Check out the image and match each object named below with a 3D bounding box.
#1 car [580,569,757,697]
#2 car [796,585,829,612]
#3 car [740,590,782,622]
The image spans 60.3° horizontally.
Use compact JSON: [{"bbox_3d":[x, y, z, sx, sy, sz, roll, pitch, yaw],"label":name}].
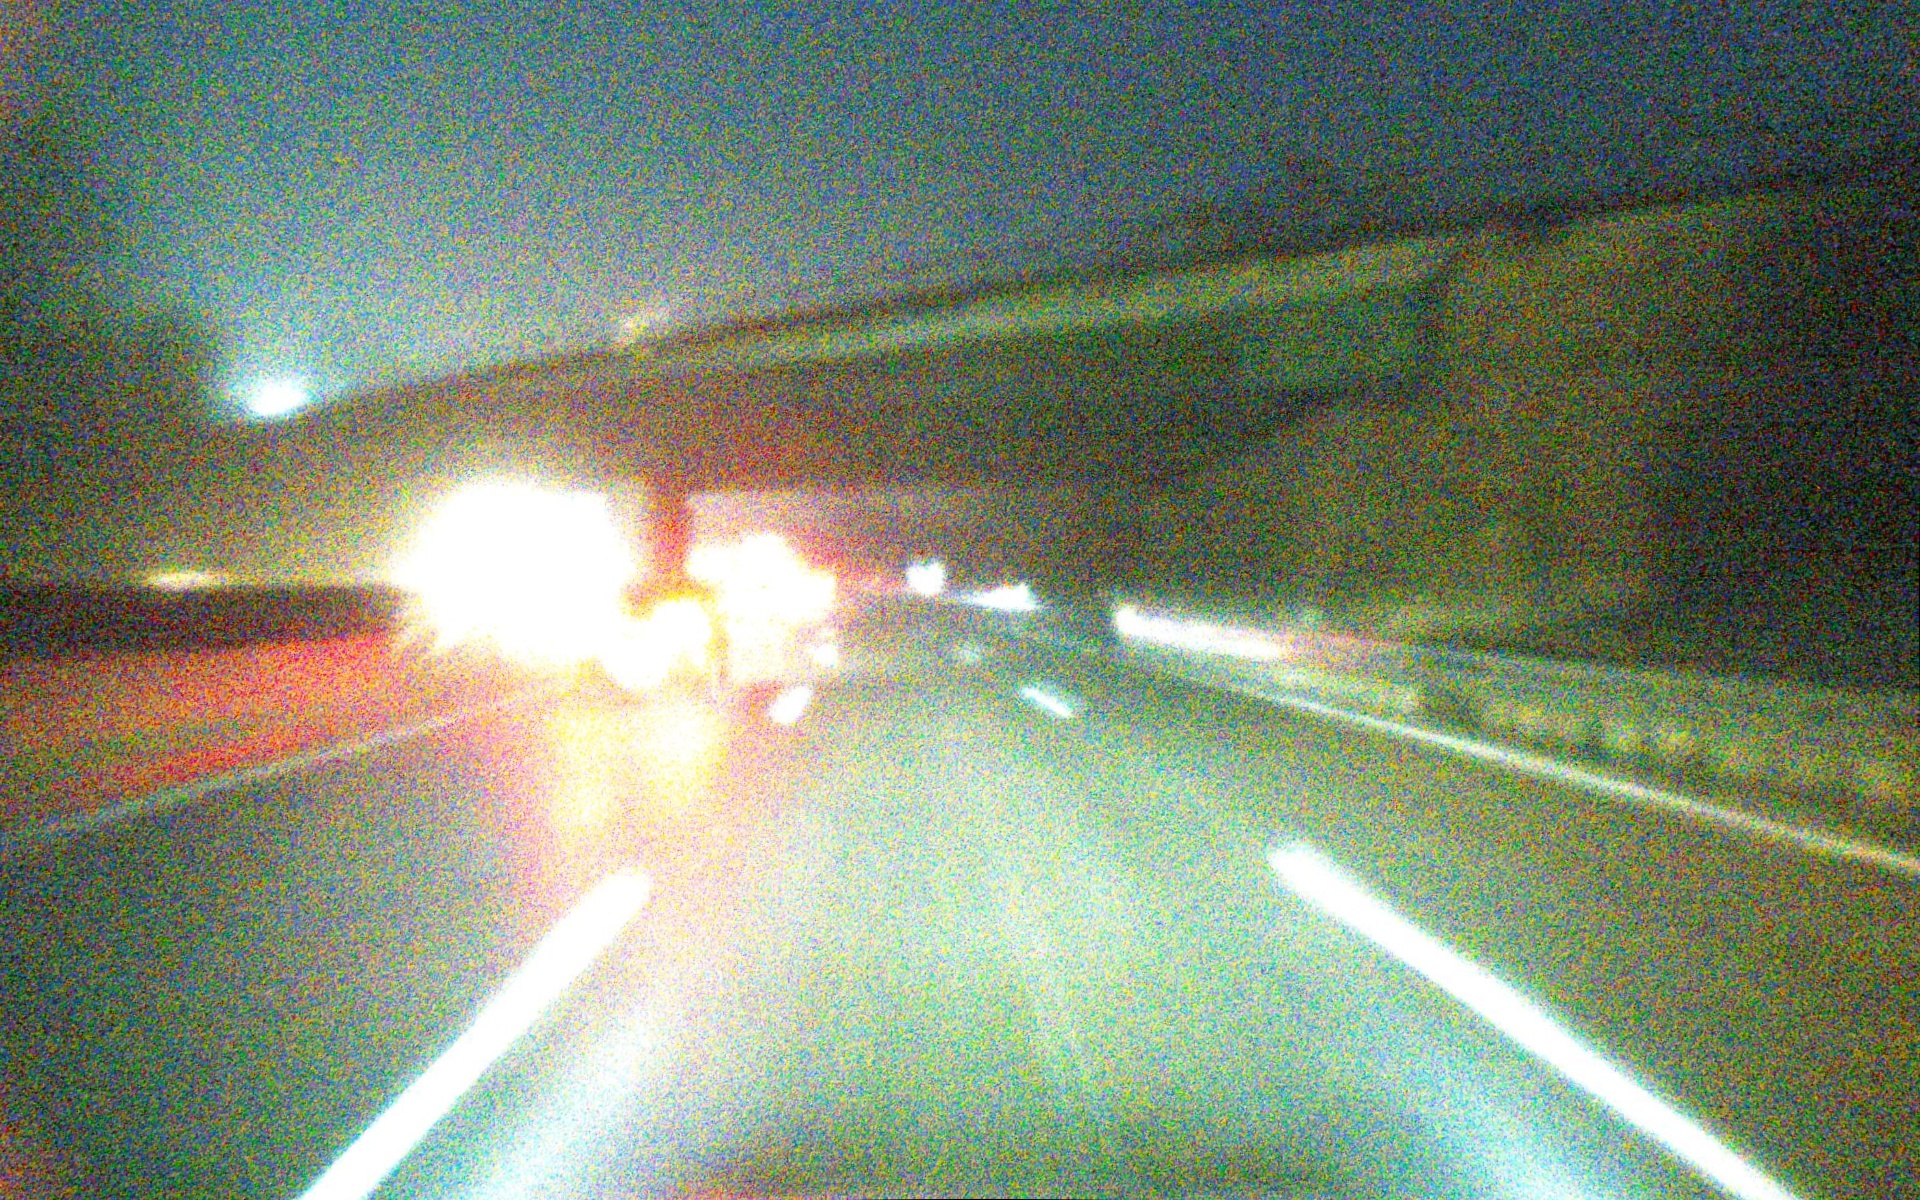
[{"bbox_3d":[-4.147,0.427,24.293,1.821,1.567,4.748,4,0,-2],"label":"car"},{"bbox_3d":[-8.432,-0.091,94.807,1.766,1.513,3.998,1,0,-3],"label":"car"},{"bbox_3d":[-8.205,0.240,68.210,1.630,1.258,3.756,1,0,-7],"label":"car"}]
